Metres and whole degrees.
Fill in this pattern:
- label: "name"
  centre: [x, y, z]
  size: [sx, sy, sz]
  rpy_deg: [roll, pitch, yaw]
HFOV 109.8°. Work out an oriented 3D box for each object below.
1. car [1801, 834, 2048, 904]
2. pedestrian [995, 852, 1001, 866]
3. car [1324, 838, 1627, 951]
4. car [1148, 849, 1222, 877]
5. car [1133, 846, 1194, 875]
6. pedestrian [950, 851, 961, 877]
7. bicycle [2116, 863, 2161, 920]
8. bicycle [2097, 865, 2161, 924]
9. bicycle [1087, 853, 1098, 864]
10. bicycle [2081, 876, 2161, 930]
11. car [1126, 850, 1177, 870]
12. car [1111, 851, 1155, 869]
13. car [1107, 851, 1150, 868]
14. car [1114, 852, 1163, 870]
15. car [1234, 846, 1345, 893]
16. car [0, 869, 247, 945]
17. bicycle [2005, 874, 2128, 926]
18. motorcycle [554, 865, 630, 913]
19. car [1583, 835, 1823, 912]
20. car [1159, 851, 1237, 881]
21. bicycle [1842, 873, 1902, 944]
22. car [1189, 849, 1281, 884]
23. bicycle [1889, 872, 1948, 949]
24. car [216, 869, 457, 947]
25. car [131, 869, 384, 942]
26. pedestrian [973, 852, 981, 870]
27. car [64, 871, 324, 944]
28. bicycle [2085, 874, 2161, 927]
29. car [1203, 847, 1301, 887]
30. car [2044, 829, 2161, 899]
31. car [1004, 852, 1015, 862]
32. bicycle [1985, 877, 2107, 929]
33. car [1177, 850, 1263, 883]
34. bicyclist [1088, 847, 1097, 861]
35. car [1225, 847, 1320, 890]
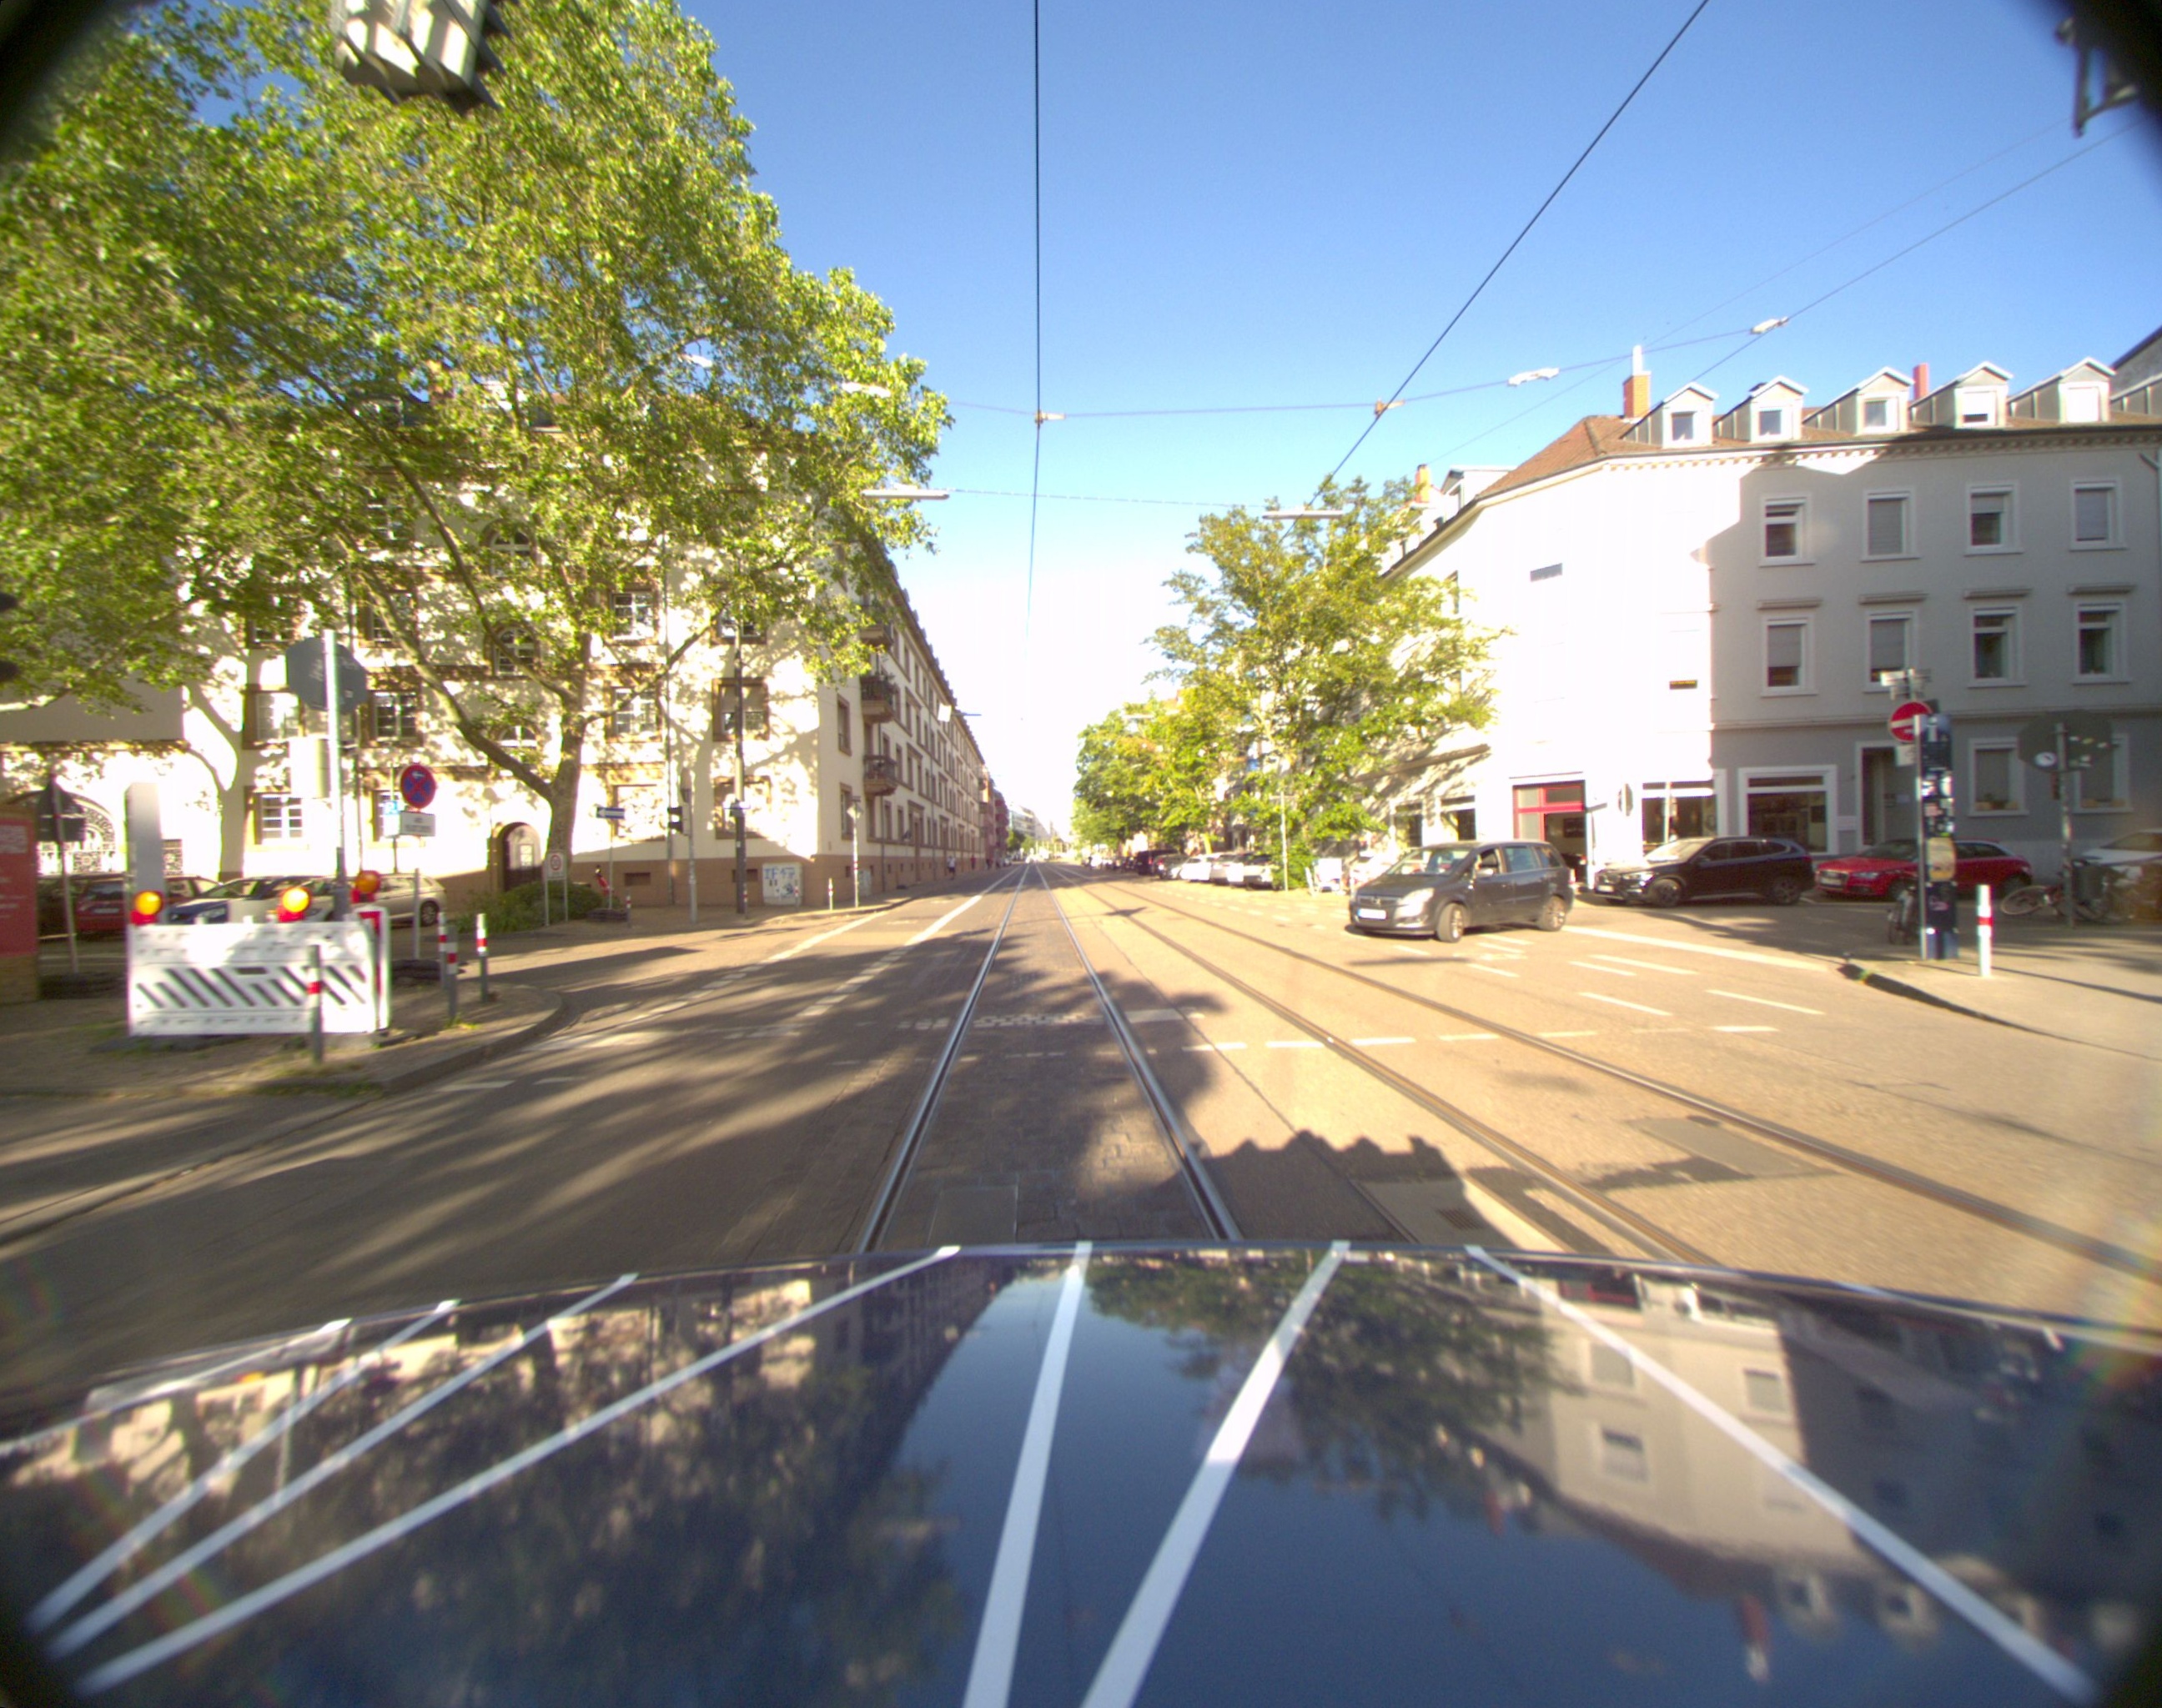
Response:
- label: "car"
  centre: [20.068, 0.366, 18.202]
  size: [3.951, 1.494, 1.651]
  rpy_deg: [-1, -1, 2]
- label: "pedestrian"
  centre: [-11.425, 0.679, 105.063]
  size: [0.738, 1.827, 0.696]
  rpy_deg: [-1, 1, -5]
- label: "car"
  centre: [6.904, 0.607, 13.222]
  size: [5.190, 1.652, 1.796]
  rpy_deg: [-1, -1, -24]
- label: "car"
  centre: [6.398, 0.552, 46.718]
  size: [4.137, 1.480, 1.618]
  rpy_deg: [-3, 2, -14]
- label: "car"
  centre: [6.088, 0.454, 55.794]
  size: [4.142, 1.877, 1.884]
  rpy_deg: [-4, 2, -36]
- label: "pedestrian"
  centre: [-9.059, 0.707, 54.907]
  size: [0.738, 1.827, 0.696]
  rpy_deg: [-1, 1, -5]
- label: "bicycle"
  centre: [18.722, 0.650, 12.632]
  size: [0.481, 0.956, 1.769]
  rpy_deg: [-1, 0, -9]
- label: "bicycle"
  centre: [18.316, 0.687, 12.621]
  size: [0.427, 0.956, 1.770]
  rpy_deg: [-1, 0, -4]
- label: "bicycle"
  centre: [1.266, 0.445, 82.551]
  size: [0.901, 1.158, 3.247]
  rpy_deg: [-1, 0, -4]
- label: "bicycle"
  centre: [17.569, 0.811, 12.475]
  size: [0.361, 0.814, 1.389]
  rpy_deg: [-1, 2, -6]
- label: "car"
  centre: [6.127, 0.541, 66.242]
  size: [4.134, 1.480, 1.619]
  rpy_deg: [-3, 2, -4]
- label: "car"
  centre: [5.225, 0.584, 76.355]
  size: [4.138, 1.653, 1.617]
  rpy_deg: [-3, 2, -19]
- label: "car"
  centre: [4.991, 0.556, 79.658]
  size: [4.138, 1.480, 1.617]
  rpy_deg: [-3, 2, -19]
- label: "car"
  centre: [5.310, 0.616, 70.335]
  size: [4.138, 1.480, 1.617]
  rpy_deg: [-3, 2, -19]
- label: "car"
  centre: [8.207, 0.573, 29.852]
  size: [4.141, 1.547, 1.616]
  rpy_deg: [-3, 2, -28]
- label: "car"
  centre: [-25.031, 1.281, 19.851]
  size: [1.727, 1.661, 4.474]
  rpy_deg: [-1, 0, -4]
- label: "bicycle"
  centre: [17.111, 0.785, 13.230]
  size: [0.355, 0.813, 1.312]
  rpy_deg: [-1, 0, -6]
- label: "motorcycle"
  centre: [-14.063, 0.998, 21.862]
  size: [1.763, 1.325, 0.515]
  rpy_deg: [-1, 1, -6]
- label: "car"
  centre: [14.707, 0.461, 18.156]
  size: [4.193, 1.652, 1.766]
  rpy_deg: [-1, -1, 2]
- label: "car"
  centre: [6.751, 0.656, 44.157]
  size: [4.136, 1.480, 1.618]
  rpy_deg: [-3, 2, -9]
- label: "bicycle"
  centre: [12.377, 0.823, 11.871]
  size: [1.691, 1.039, 0.457]
  rpy_deg: [1, -1, -37]
- label: "car"
  centre: [7.625, 0.586, 37.634]
  size: [4.138, 1.480, 1.617]
  rpy_deg: [-3, 2, -17]
- label: "bicycle"
  centre: [12.634, 0.811, 11.447]
  size: [1.667, 1.039, 0.450]
  rpy_deg: [-1, 1, -37]
- label: "car"
  centre: [-18.054, 1.211, 18.791]
  size: [1.727, 1.562, 4.474]
  rpy_deg: [-1, 0, -4]
- label: "car"
  centre: [-20.542, 1.193, 19.306]
  size: [1.727, 1.492, 4.474]
  rpy_deg: [-1, 0, -4]
- label: "pedestrian"
  centre: [-10.742, 0.712, 78.350]
  size: [0.738, 1.827, 0.696]
  rpy_deg: [-1, 1, -5]
- label: "car"
  centre: [-22.949, 1.293, 19.995]
  size: [1.727, 1.562, 4.474]
  rpy_deg: [-1, 0, -4]
- label: "bicycle"
  centre: [17.868, 0.784, 12.684]
  size: [0.381, 0.814, 1.311]
  rpy_deg: [-1, 2, -6]
- label: "car"
  centre: [7.820, 0.568, 34.628]
  size: [4.140, 1.547, 1.617]
  rpy_deg: [-3, 2, -23]
- label: "car"
  centre: [25.819, 0.204, 18.008]
  size: [3.785, 1.577, 1.642]
  rpy_deg: [-1, -1, 2]
- label: "car"
  centre: [-13.512, 0.622, 143.166]
  size: [1.890, 1.674, 4.390]
  rpy_deg: [-2, -1, -6]
- label: "bicycle"
  centre: [16.735, 0.828, 13.214]
  size: [0.371, 0.813, 1.312]
  rpy_deg: [-1, 0, -6]
- label: "car"
  centre: [7.260, 0.626, 39.760]
  size: [4.138, 1.480, 1.617]
  rpy_deg: [-3, 2, -18]
- label: "bicyclist"
  centre: [1.269, 0.007, 82.405]
  size: [0.901, 1.445, 1.262]
  rpy_deg: [-1, 1, -4]
- label: "car"
  centre: [8.233, 0.575, 32.461]
  size: [4.142, 1.547, 1.616]
  rpy_deg: [-4, 2, -36]
